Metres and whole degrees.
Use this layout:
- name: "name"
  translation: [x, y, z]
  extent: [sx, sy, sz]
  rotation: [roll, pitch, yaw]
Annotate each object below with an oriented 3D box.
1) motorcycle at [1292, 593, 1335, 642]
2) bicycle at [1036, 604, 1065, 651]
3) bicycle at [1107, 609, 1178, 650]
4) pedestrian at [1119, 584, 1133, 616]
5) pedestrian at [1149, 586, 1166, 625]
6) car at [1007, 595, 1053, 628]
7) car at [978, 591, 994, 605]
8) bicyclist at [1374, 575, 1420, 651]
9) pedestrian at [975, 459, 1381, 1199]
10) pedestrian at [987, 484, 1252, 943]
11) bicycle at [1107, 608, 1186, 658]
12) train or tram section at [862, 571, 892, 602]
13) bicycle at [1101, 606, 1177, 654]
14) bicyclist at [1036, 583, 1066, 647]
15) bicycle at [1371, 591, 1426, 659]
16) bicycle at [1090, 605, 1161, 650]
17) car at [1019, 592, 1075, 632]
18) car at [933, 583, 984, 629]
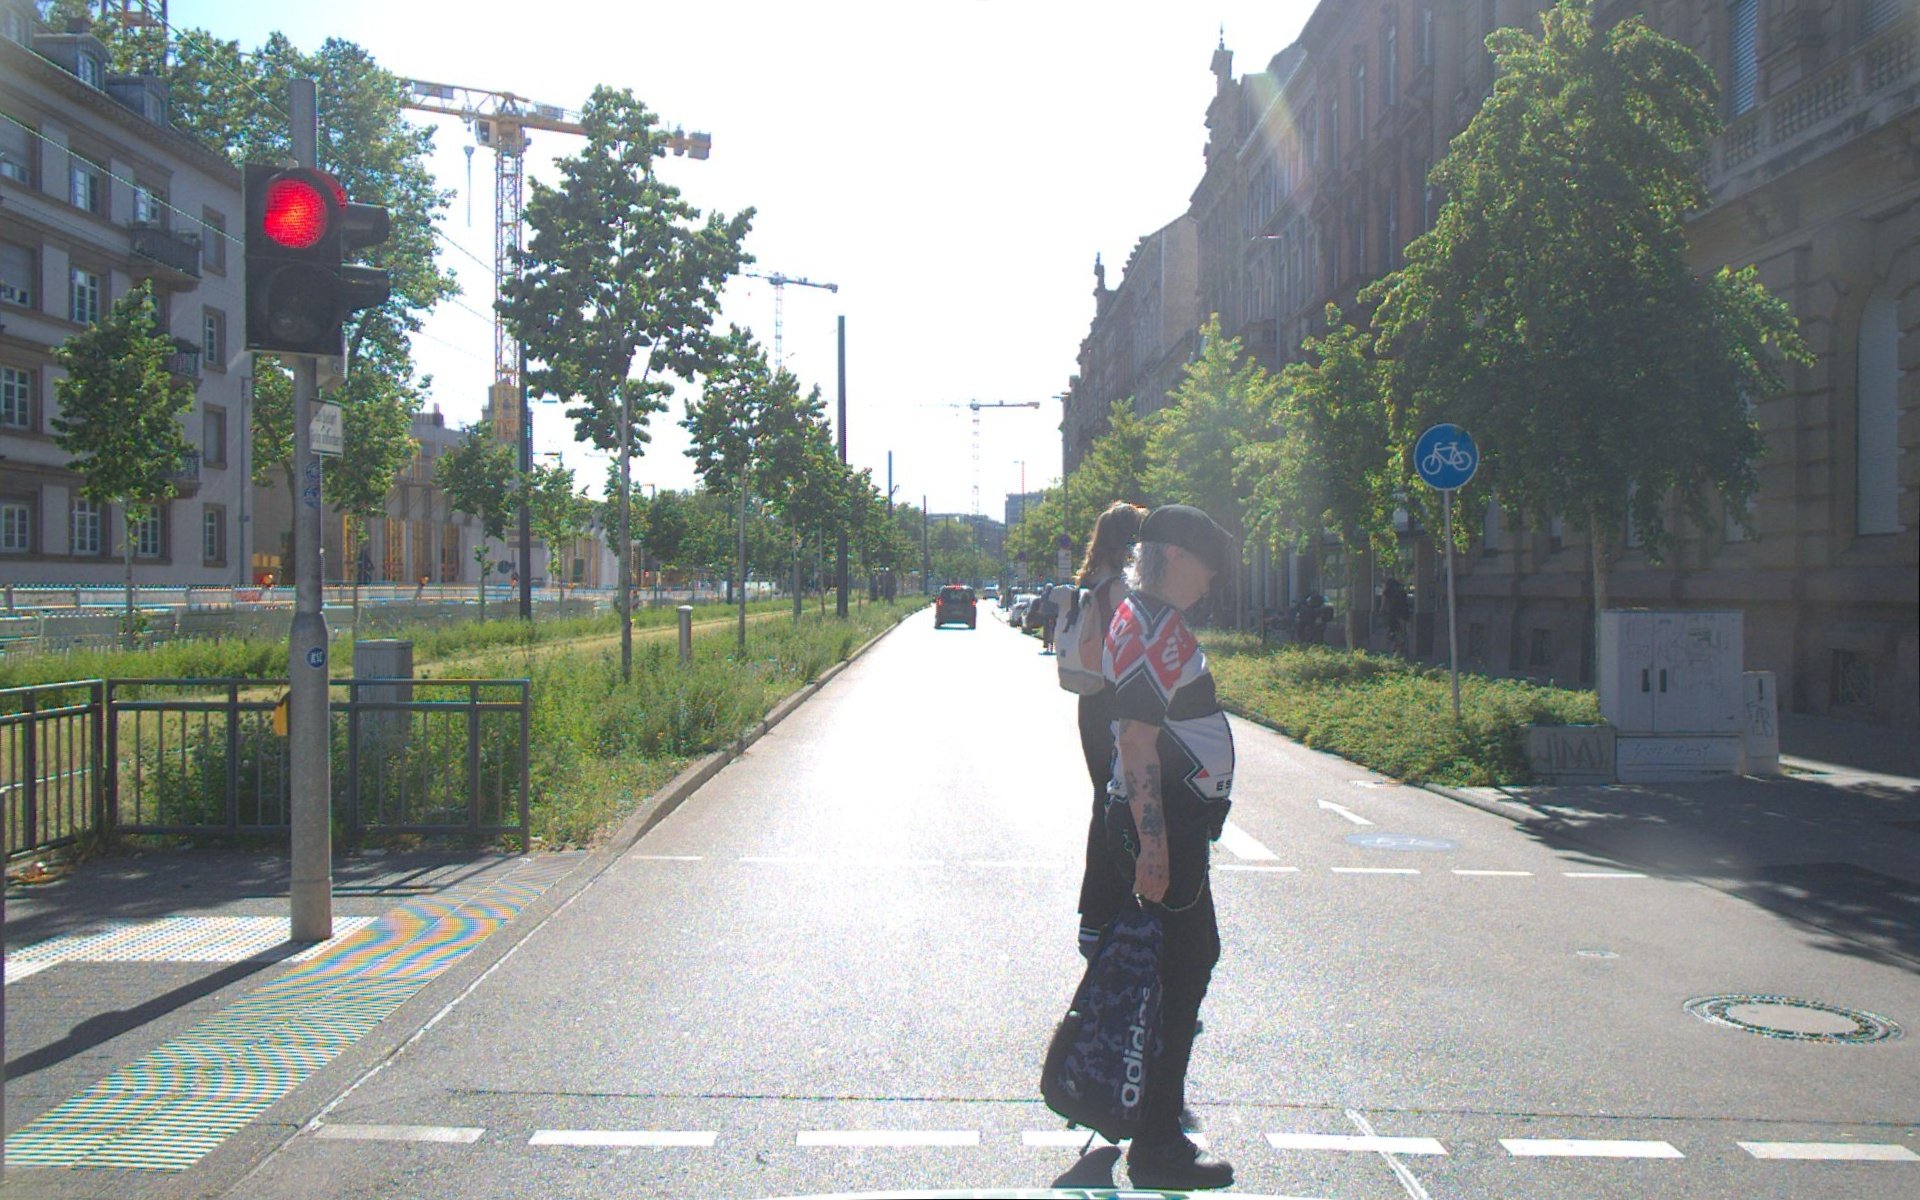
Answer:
- name: "motorcycle"
  translation: [9.456, 0.456, 44.297]
  extent: [0.686, 1.289, 1.981]
  rotation: [0, 0, -1]
- name: "bicycle"
  translation: [2.427, 0.720, 44.589]
  extent: [0.589, 1.201, 1.869]
  rotation: [2, 0, -1]
- name: "bicycle"
  translation: [4.693, 0.757, 42.548]
  extent: [1.756, 1.048, 0.527]
  rotation: [0, 0, -1]
- name: "pedestrian"
  translation: [8.522, -0.018, 84.851]
  extent: [0.601, 1.640, 0.669]
  rotation: [0, 0, -1]
- name: "pedestrian"
  translation: [8.343, 0.228, 69.834]
  extent: [0.601, 1.640, 0.669]
  rotation: [0, 0, -1]
- name: "car"
  translation: [3.347, 0.510, 79.819]
  extent: [1.987, 1.525, 4.529]
  rotation: [0, 0, -1]
- name: "car"
  translation: [3.304, -0.203, 211.758]
  extent: [1.953, 1.759, 3.999]
  rotation: [1, 0, -1]
- name: "bicyclist"
  translation: [9.228, 0.266, 34.940]
  extent: [0.647, 1.556, 0.801]
  rotation: [-4, 0, 0]
- name: "pedestrian"
  translation: [0.534, 0.579, 4.444]
  extent: [0.848, 1.819, 0.969]
  rotation: [1, 0, -7]
- name: "pedestrian"
  translation: [0.692, 0.474, 7.389]
  extent: [1.055, 1.942, 0.652]
  rotation: [0, 0, -7]
- name: "bicycle"
  translation: [4.455, 0.780, 39.627]
  extent: [1.756, 1.048, 0.527]
  rotation: [-4, 0, -1]
- name: "train or tram section"
  translation: [-7.952, -1.233, 160.038]
  extent: [2.700, 2.790, 9.859]
  rotation: [1, 0, -2]
- name: "bicycle"
  translation: [4.427, 0.744, 41.001]
  extent: [1.756, 1.048, 0.527]
  rotation: [-4, 0, -1]
- name: "bicyclist"
  translation: [2.462, 0.394, 44.806]
  extent: [0.670, 1.702, 0.922]
  rotation: [2, 0, -2]
- name: "bicycle"
  translation: [9.263, 0.512, 35.003]
  extent: [0.603, 1.353, 1.900]
  rotation: [-4, 0, 1]
- name: "bicycle"
  translation: [4.392, 0.731, 43.951]
  extent: [1.756, 1.048, 0.527]
  rotation: [-4, 0, -1]
- name: "car"
  translation: [3.503, 0.459, 67.377]
  extent: [1.987, 1.525, 4.653]
  rotation: [0, 0, -1]
- name: "car"
  translation: [-0.098, 0.251, 73.426]
  extent: [2.155, 1.960, 4.653]
  rotation: [0, 0, -1]
